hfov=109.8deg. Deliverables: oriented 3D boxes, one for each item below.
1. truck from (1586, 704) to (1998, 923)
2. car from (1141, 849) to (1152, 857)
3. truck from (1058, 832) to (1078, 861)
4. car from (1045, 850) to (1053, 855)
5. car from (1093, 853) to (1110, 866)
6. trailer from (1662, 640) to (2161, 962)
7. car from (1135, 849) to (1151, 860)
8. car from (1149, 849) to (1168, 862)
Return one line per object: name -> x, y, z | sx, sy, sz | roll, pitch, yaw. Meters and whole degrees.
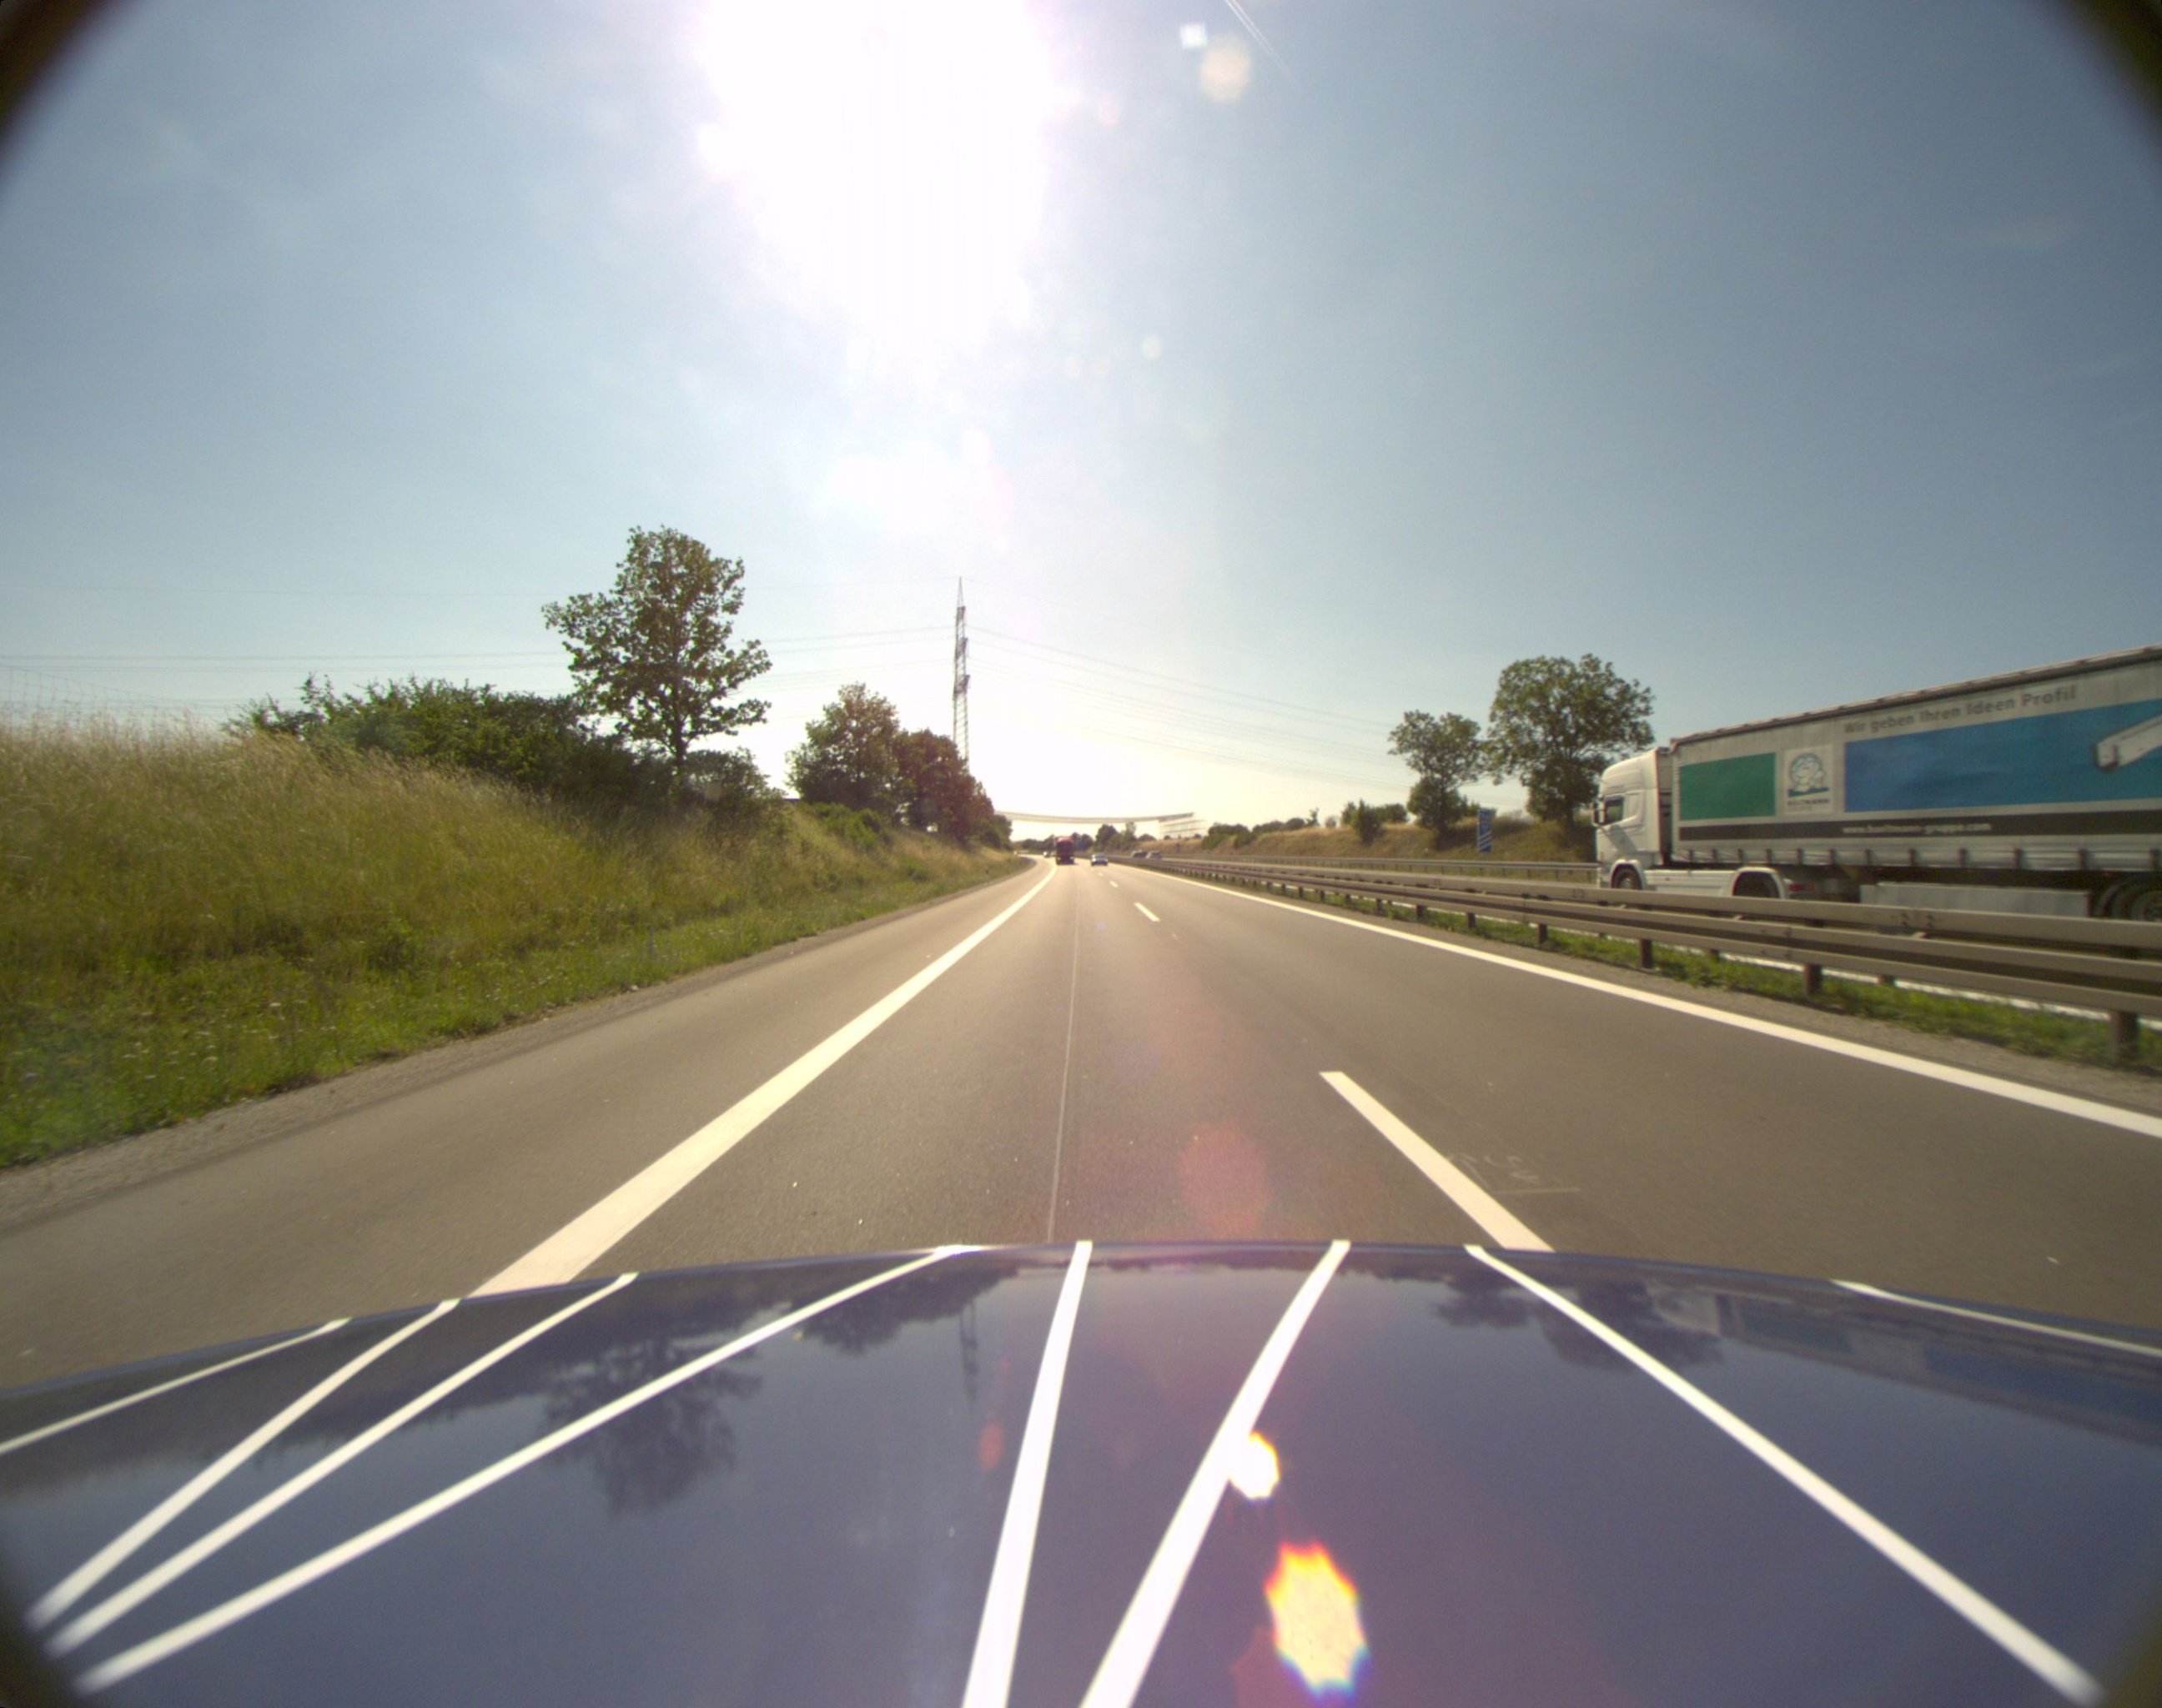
truck -> 15.276, -0.769, 17.204 | 3.623, 3.975, 6.123 | -1, 1, 1
car -> 12.020, -0.154, 140.212 | 1.782, 1.391, 4.000 | -1, 0, 1
truck -> -1.846, -1.026, 110.006 | 2.570, 3.939, 8.643 | -1, 0, 1
car -> -9.206, -0.369, 217.898 | 1.910, 1.422, 4.553 | -1, 0, 1
car -> 2.376, 0.629, 89.656 | 1.852, 1.424, 5.865 | 1, 0, 1
trailer -> 15.192, -0.697, 10.542 | 3.623, 3.975, 14.047 | -1, 0, 1
car -> 9.375, 0.093, 115.249 | 1.998, 1.655, 4.000 | -1, 0, 1
car -> 9.883, 0.160, 96.919 | 1.998, 1.655, 4.000 | -1, 0, 1
